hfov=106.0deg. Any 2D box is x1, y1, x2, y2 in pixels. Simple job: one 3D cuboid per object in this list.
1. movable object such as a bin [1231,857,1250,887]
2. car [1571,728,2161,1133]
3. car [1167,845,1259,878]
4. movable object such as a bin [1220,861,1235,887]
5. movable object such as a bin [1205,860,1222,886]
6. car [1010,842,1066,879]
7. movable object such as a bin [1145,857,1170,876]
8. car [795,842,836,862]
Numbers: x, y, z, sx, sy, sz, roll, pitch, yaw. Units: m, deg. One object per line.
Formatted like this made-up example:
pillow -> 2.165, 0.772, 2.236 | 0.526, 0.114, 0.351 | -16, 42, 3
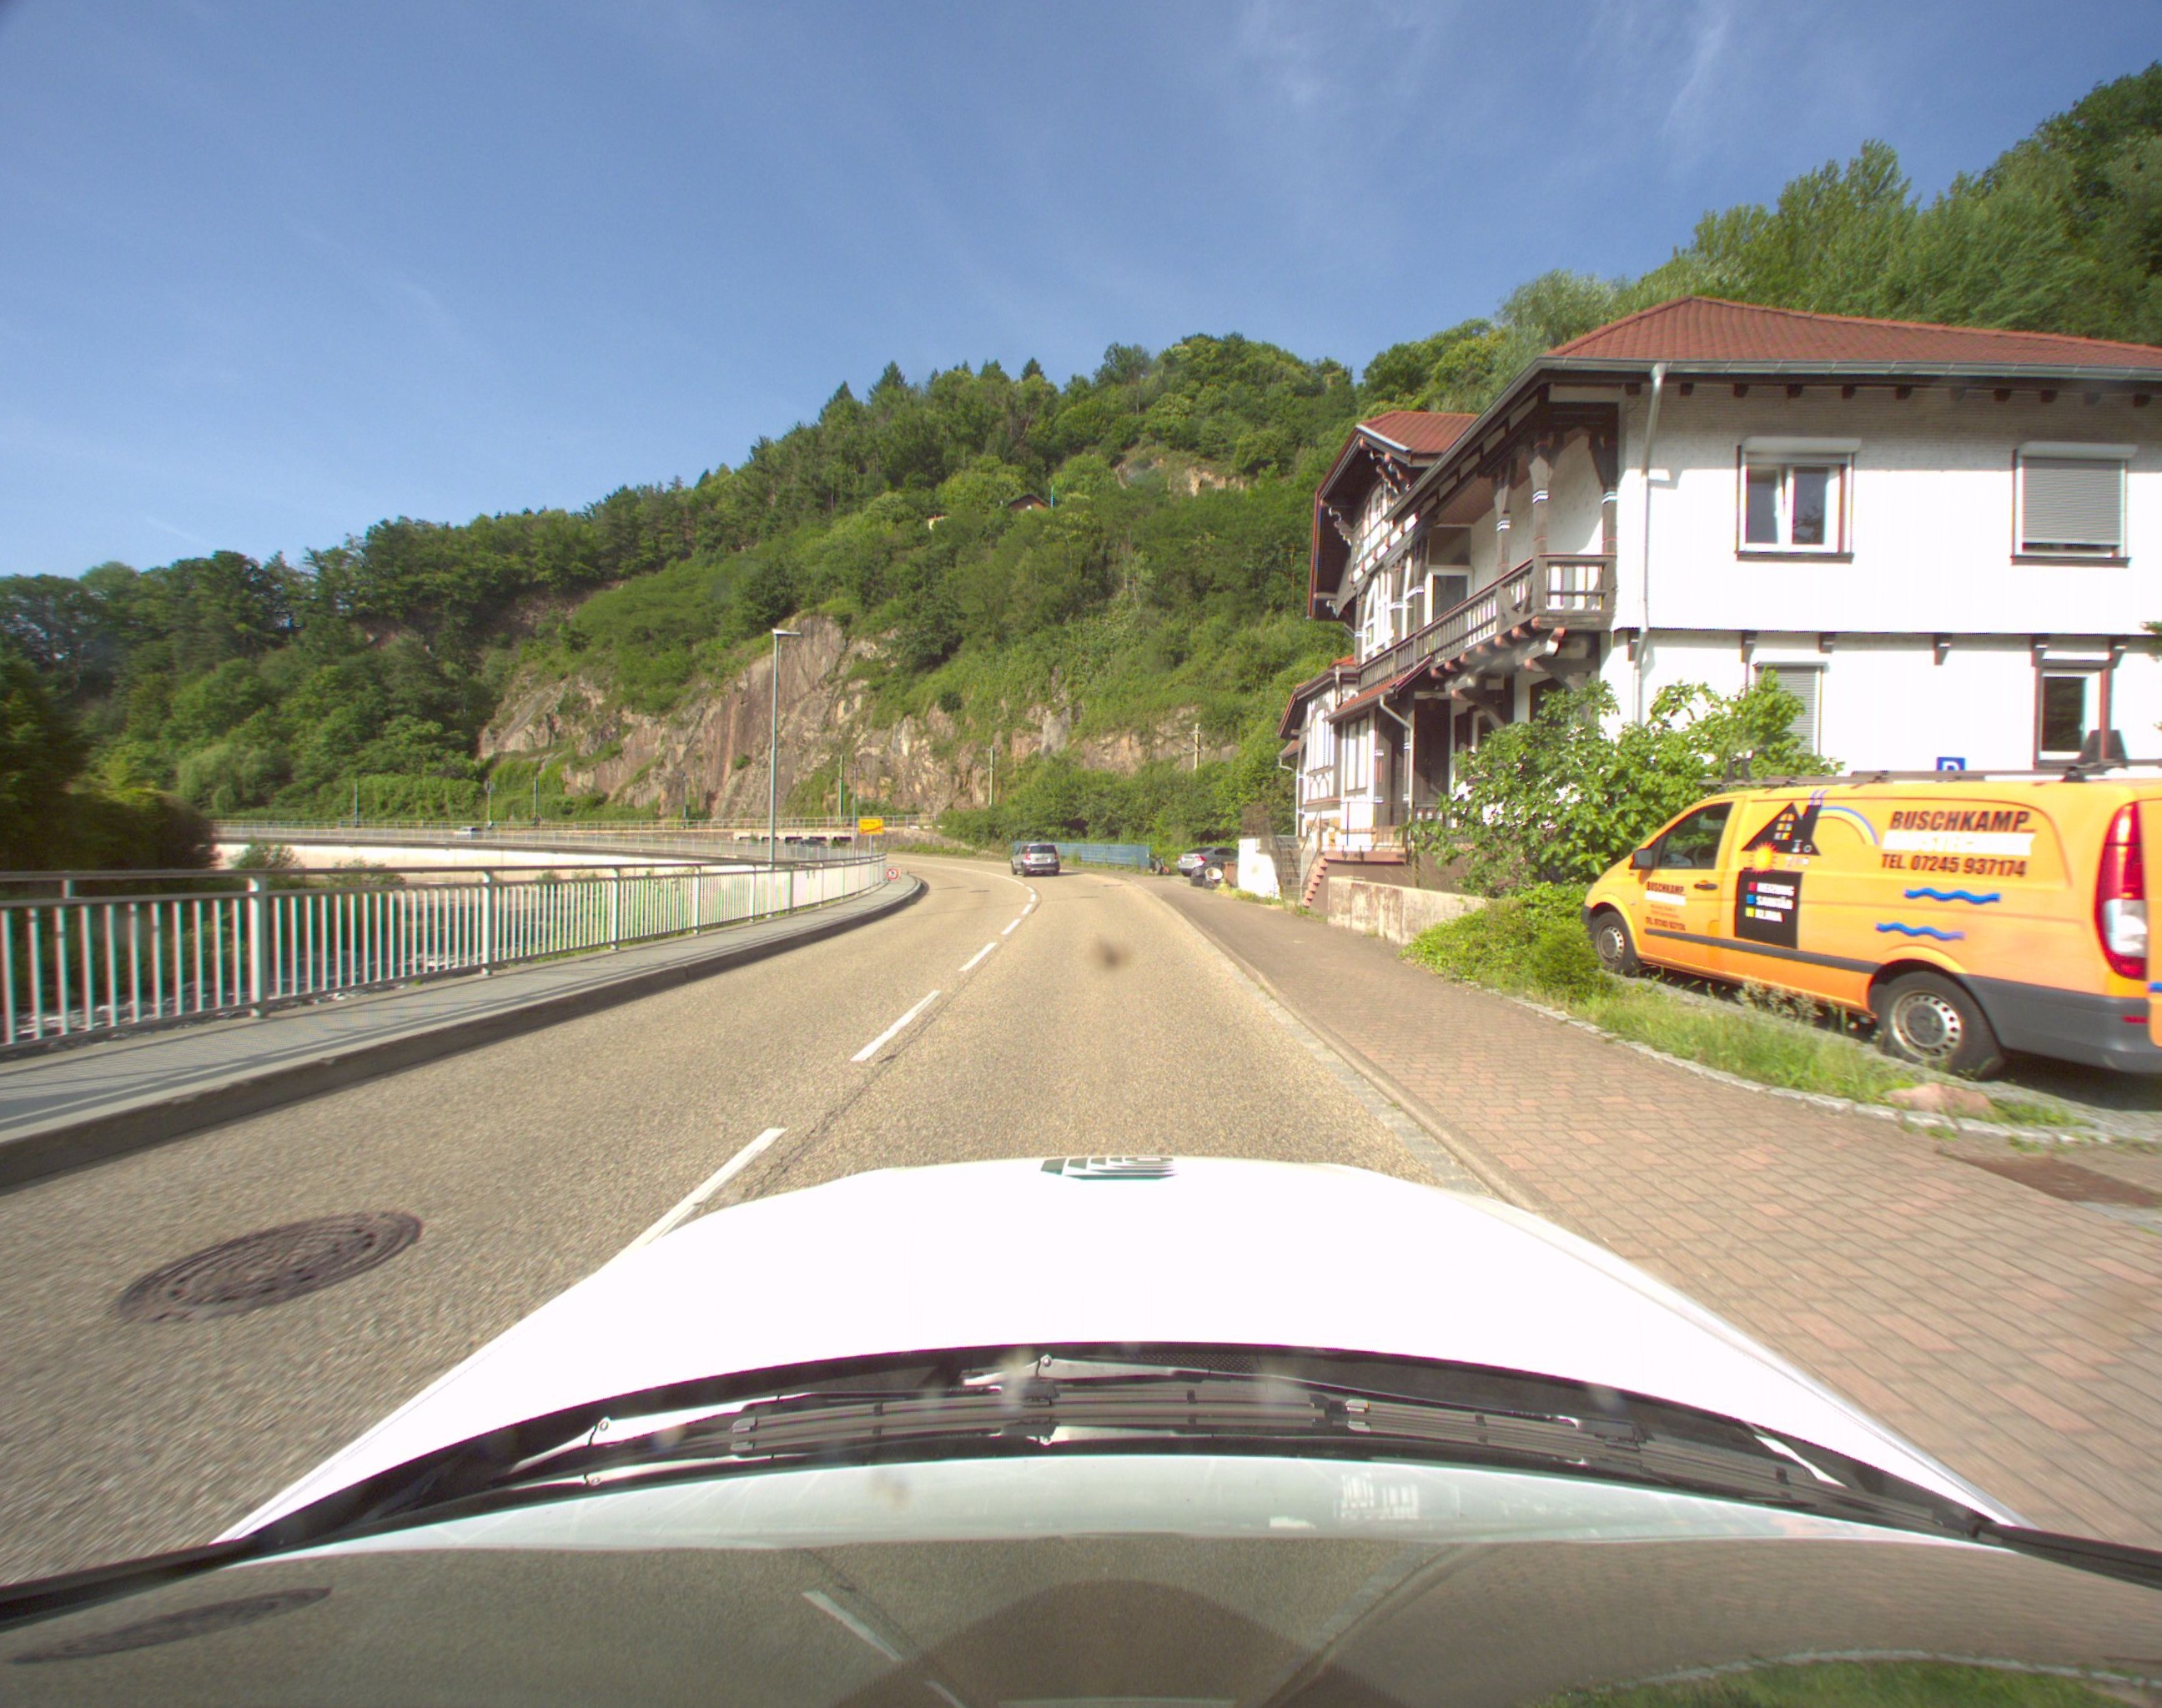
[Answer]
movable object such as a bin -> 5.798, 0.649, 29.617 | 0.476, 1.062, 0.752 | 1, 1, -3
car -> 6.202, 0.357, 6.418 | 1.901, 1.997, 4.837 | 0, 0, 2
car -> 6.130, 0.334, 37.596 | 4.352, 1.469, 1.816 | 0, -1, -41
movable object such as a bin -> 5.342, 0.724, 29.645 | 0.367, 0.900, 0.545 | 1, 1, -9
movable object such as a bin -> 4.847, 0.687, 29.755 | 0.470, 0.936, 0.652 | 1, 1, -3
car -> -2.194, 0.292, 40.248 | 1.877, 1.655, 3.978 | -2, 1, -16
movable object such as a bin -> 3.616, 0.578, 38.764 | 0.853, 0.847, 2.536 | 2, 1, -2
car -> -22.178, -0.188, 68.017 | 1.831, 1.643, 3.952 | 1, 0, -42
